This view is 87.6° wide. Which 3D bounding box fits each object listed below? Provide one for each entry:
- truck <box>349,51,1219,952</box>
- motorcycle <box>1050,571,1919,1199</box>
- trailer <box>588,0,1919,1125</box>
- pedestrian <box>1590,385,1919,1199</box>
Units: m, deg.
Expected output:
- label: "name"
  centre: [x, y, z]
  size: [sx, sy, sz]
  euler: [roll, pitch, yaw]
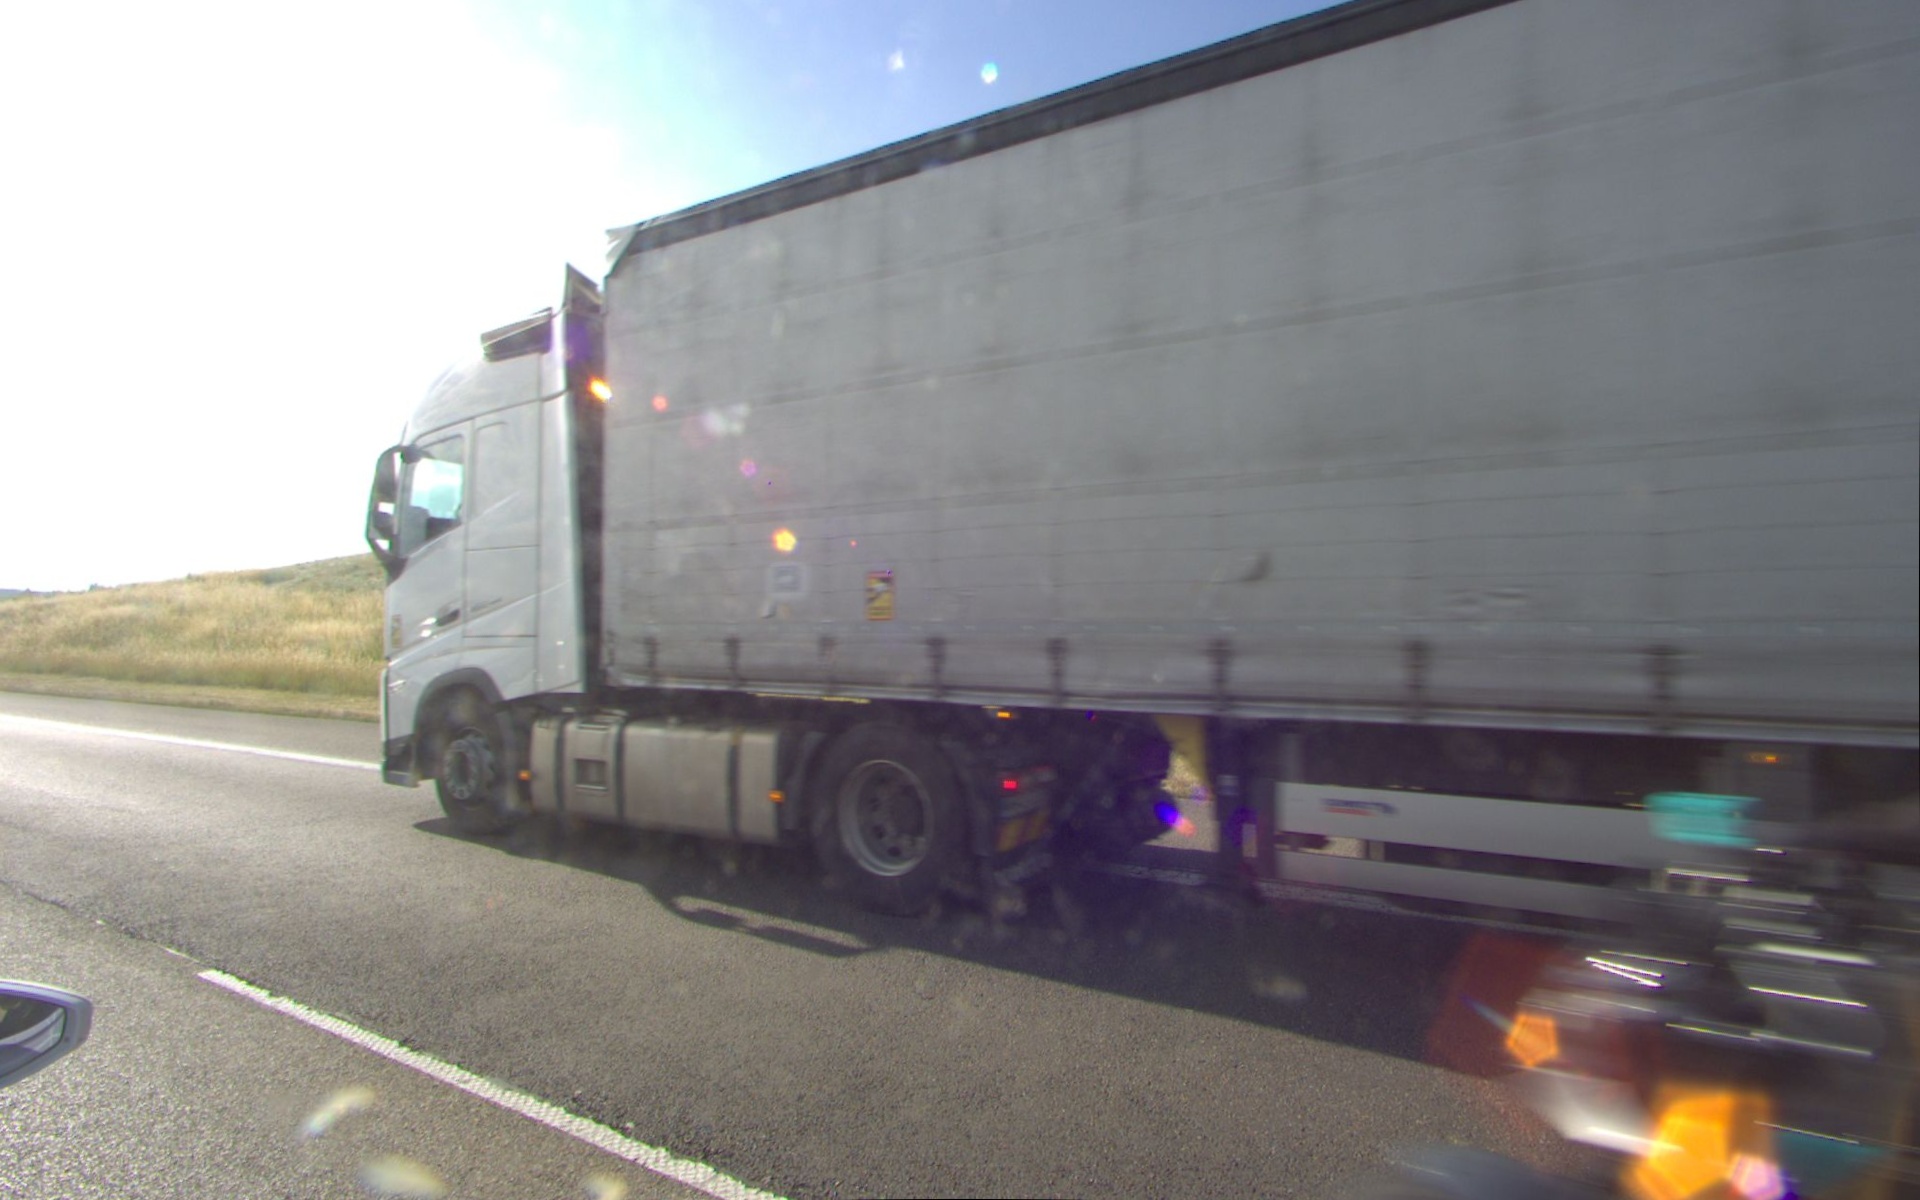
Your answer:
- label: "truck"
  centre: [-1.482, -0.383, 7.249]
  size: [6.031, 4.093, 2.597]
  euler: [-1, -1, 32]
- label: "motorcycle"
  centre: [1.314, 0.712, 1.205]
  size: [2.237, 1.474, 0.894]
  euler: [-1, -1, 32]
- label: "trailer"
  centre: [4.106, -0.461, 3.782]
  size: [13.500, 4.093, 2.612]
  euler: [-1, -1, 32]
- label: "pedestrian"
  centre: [1.338, 0.538, 1.185]
  size: [0.969, 1.474, 0.894]
  euler: [-1, -1, 32]
